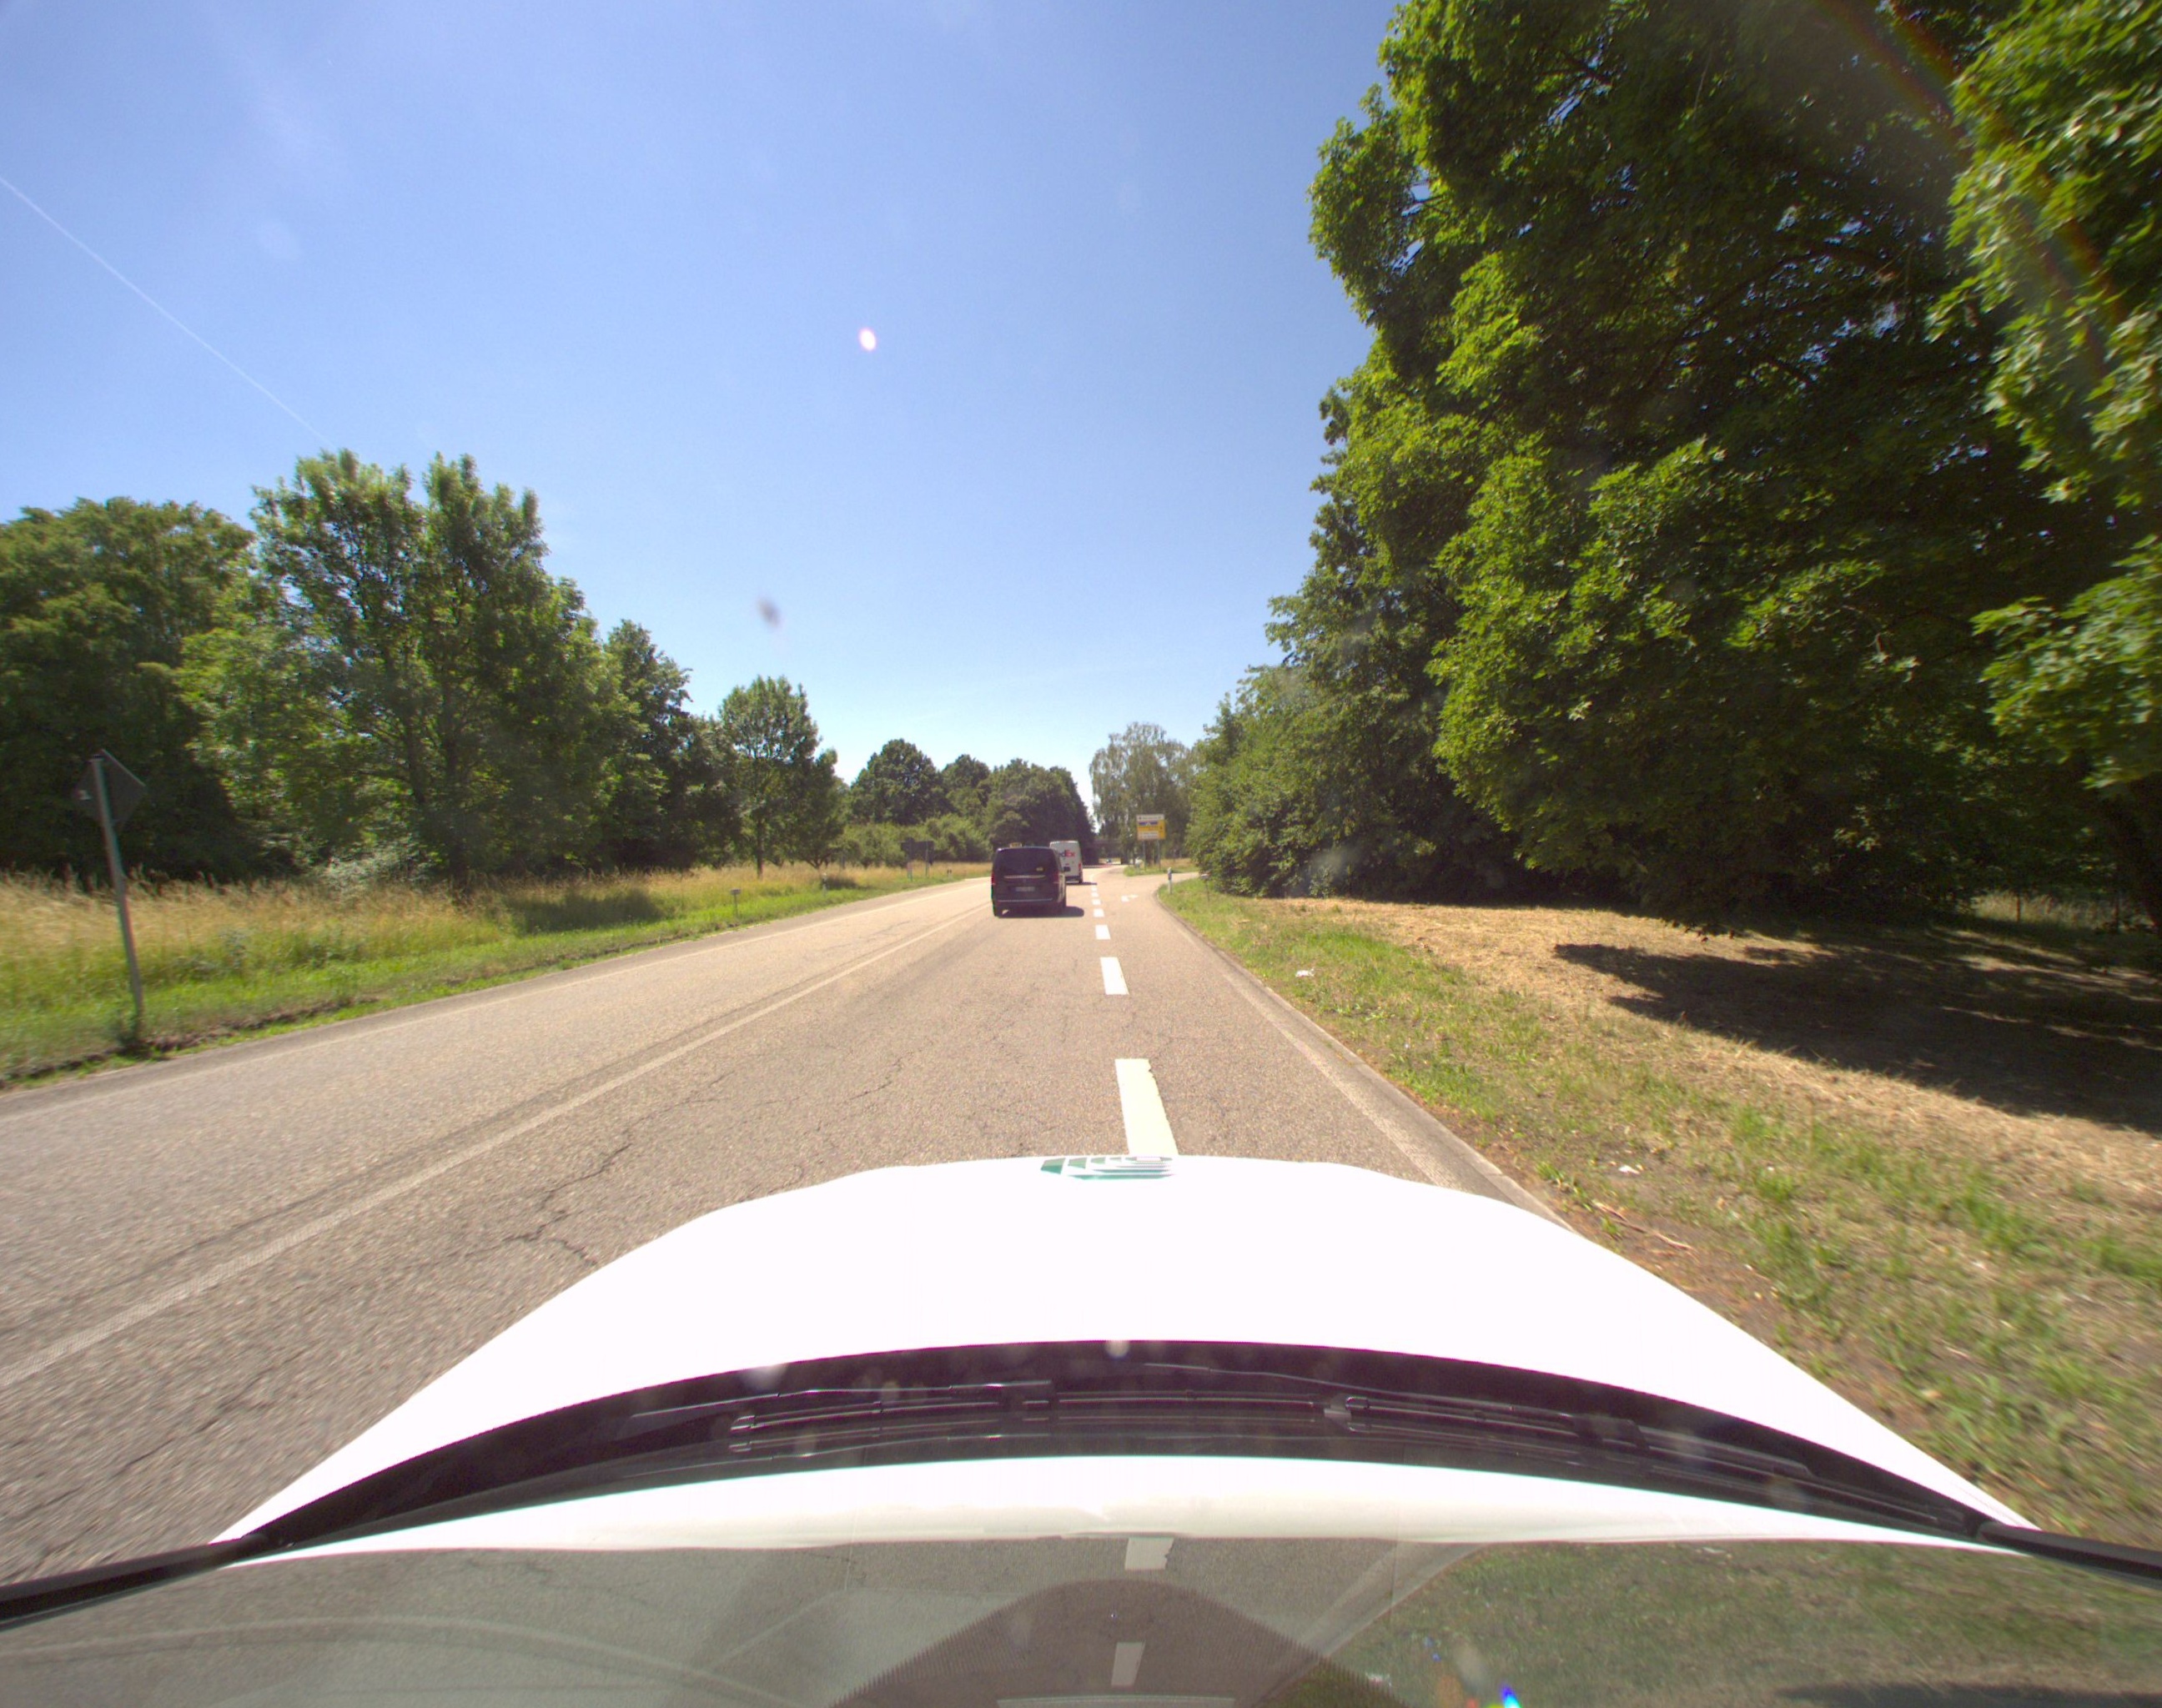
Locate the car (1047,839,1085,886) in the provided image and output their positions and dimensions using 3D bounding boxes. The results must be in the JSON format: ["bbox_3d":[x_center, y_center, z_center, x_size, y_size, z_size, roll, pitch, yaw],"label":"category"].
[{"bbox_3d":[-0.862,0.504,49.042,2.070,2.702,4.668,0,0,2],"label":"car"}]

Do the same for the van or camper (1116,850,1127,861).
[{"bbox_3d":[10.965,0.322,222.297,2.623,2.929,5.205,-1,-1,0],"label":"van or camper"}]

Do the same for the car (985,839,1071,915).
[{"bbox_3d":[-1.397,0.610,23.445,1.986,1.952,5.006,0,0,1],"label":"car"}]
